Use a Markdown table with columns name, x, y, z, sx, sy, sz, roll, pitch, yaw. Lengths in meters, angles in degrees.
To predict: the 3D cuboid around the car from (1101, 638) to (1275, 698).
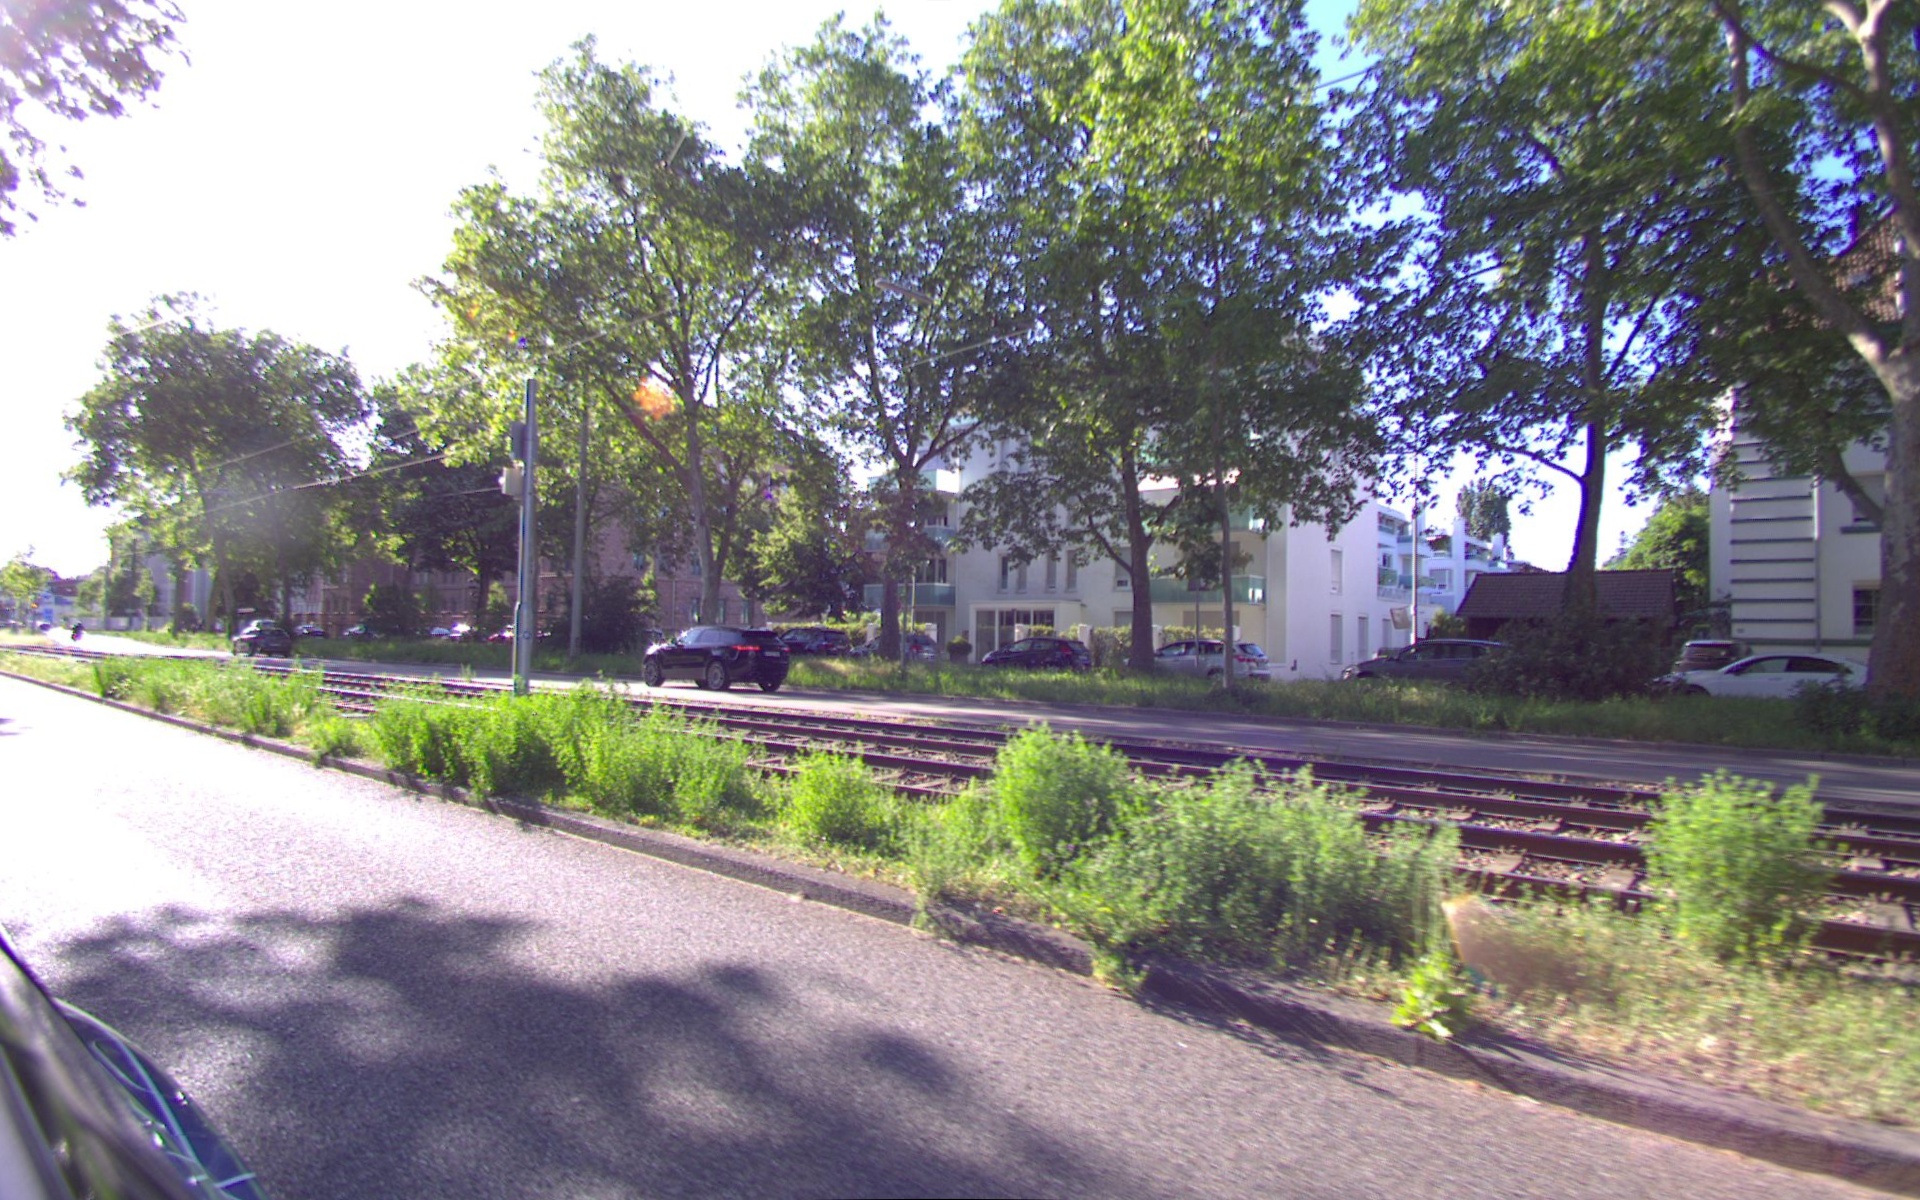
| name | x | y | z | sx | sy | sz | roll | pitch | yaw |
| --- | --- | --- | --- | --- | --- | --- | --- | --- | --- |
| car | 6.661 | 1.941 | 29.869 | 4.653 | 1.603 | 1.973 | -1 | -3 | 41 |

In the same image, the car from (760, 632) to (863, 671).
| name | x | y | z | sx | sy | sz | roll | pitch | yaw |
| --- | --- | --- | --- | --- | --- | --- | --- | --- | --- |
| car | -6.002 | 2.030 | 40.615 | 3.998 | 1.497 | 1.973 | -1 | -3 | 41 |

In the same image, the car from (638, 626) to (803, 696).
| name | x | y | z | sx | sy | sz | roll | pitch | yaw |
| --- | --- | --- | --- | --- | --- | --- | --- | --- | --- |
| car | -6.338 | 1.572 | 26.543 | 4.456 | 1.660 | 1.839 | -1 | -4 | 39 |

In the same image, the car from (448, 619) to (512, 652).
| name | x | y | z | sx | sy | sz | roll | pitch | yaw |
| --- | --- | --- | --- | --- | --- | --- | --- | --- | --- |
| car | -28.486 | 2.077 | 59.980 | 3.998 | 1.863 | 1.973 | -1 | -3 | 41 |

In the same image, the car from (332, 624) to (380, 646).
| name | x | y | z | sx | sy | sz | roll | pitch | yaw |
| --- | --- | --- | --- | --- | --- | --- | --- | --- | --- |
| car | -41.476 | 2.408 | 69.489 | 3.686 | 1.497 | 1.748 | -1 | -3 | 41 |

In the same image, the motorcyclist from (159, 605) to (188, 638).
| name | x | y | z | sx | sy | sz | roll | pitch | yaw |
| --- | --- | --- | --- | --- | --- | --- | --- | --- | --- |
| motorcyclist | -71.501 | 1.935 | 92.025 | 1.679 | 2.944 | 1.724 | -1 | -3 | 41 |

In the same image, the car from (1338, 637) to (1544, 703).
| name | x | y | z | sx | sy | sz | roll | pitch | yaw |
| --- | --- | --- | --- | --- | --- | --- | --- | --- | --- |
| car | 12.031 | 1.695 | 25.453 | 4.316 | 1.464 | 1.973 | -1 | -3 | 41 |

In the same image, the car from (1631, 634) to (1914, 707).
| name | x | y | z | sx | sy | sz | roll | pitch | yaw |
| --- | --- | --- | --- | --- | --- | --- | --- | --- | --- |
| car | 16.785 | 1.432 | 21.126 | 4.458 | 1.334 | 1.623 | -1 | -4 | 41 |

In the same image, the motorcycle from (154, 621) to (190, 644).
| name | x | y | z | sx | sy | sz | roll | pitch | yaw |
| --- | --- | --- | --- | --- | --- | --- | --- | --- | --- |
| motorcycle | -71.824 | 2.941 | 92.193 | 3.996 | 2.073 | 1.707 | -1 | -3 | 39 |

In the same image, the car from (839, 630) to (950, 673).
| name | x | y | z | sx | sy | sz | roll | pitch | yaw |
| --- | --- | --- | --- | --- | --- | --- | --- | --- | --- |
| car | -2.459 | 1.879 | 37.485 | 3.998 | 1.484 | 1.778 | -1 | -3 | 41 |

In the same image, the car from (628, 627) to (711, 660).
| name | x | y | z | sx | sy | sz | roll | pitch | yaw |
| --- | --- | --- | --- | --- | --- | --- | --- | --- | --- |
| car | -14.011 | 2.074 | 48.735 | 3.998 | 1.497 | 1.973 | -1 | -3 | 41 |

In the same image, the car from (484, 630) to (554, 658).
| name | x | y | z | sx | sy | sz | roll | pitch | yaw |
| --- | --- | --- | --- | --- | --- | --- | --- | --- | --- |
| car | -24.365 | 2.409 | 55.854 | 3.998 | 1.497 | 1.973 | -1 | -3 | 41 |

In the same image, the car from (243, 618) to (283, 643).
| name | x | y | z | sx | sy | sz | roll | pitch | yaw |
| --- | --- | --- | --- | --- | --- | --- | --- | --- | --- |
| car | -57.544 | 2.540 | 83.560 | 4.002 | 2.029 | 1.971 | -1 | -3 | 45 |

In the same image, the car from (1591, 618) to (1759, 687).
| name | x | y | z | sx | sy | sz | roll | pitch | yaw |
| --- | --- | --- | --- | --- | --- | --- | --- | --- | --- |
| car | 20.560 | 1.476 | 29.158 | 3.817 | 1.874 | 1.830 | -1 | -3 | 40 |

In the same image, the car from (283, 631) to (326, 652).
| name | x | y | z | sx | sy | sz | roll | pitch | yaw |
| --- | --- | --- | --- | --- | --- | --- | --- | --- | --- |
| car | -49.419 | 3.103 | 76.304 | 3.686 | 1.497 | 1.748 | -1 | -3 | 41 |
